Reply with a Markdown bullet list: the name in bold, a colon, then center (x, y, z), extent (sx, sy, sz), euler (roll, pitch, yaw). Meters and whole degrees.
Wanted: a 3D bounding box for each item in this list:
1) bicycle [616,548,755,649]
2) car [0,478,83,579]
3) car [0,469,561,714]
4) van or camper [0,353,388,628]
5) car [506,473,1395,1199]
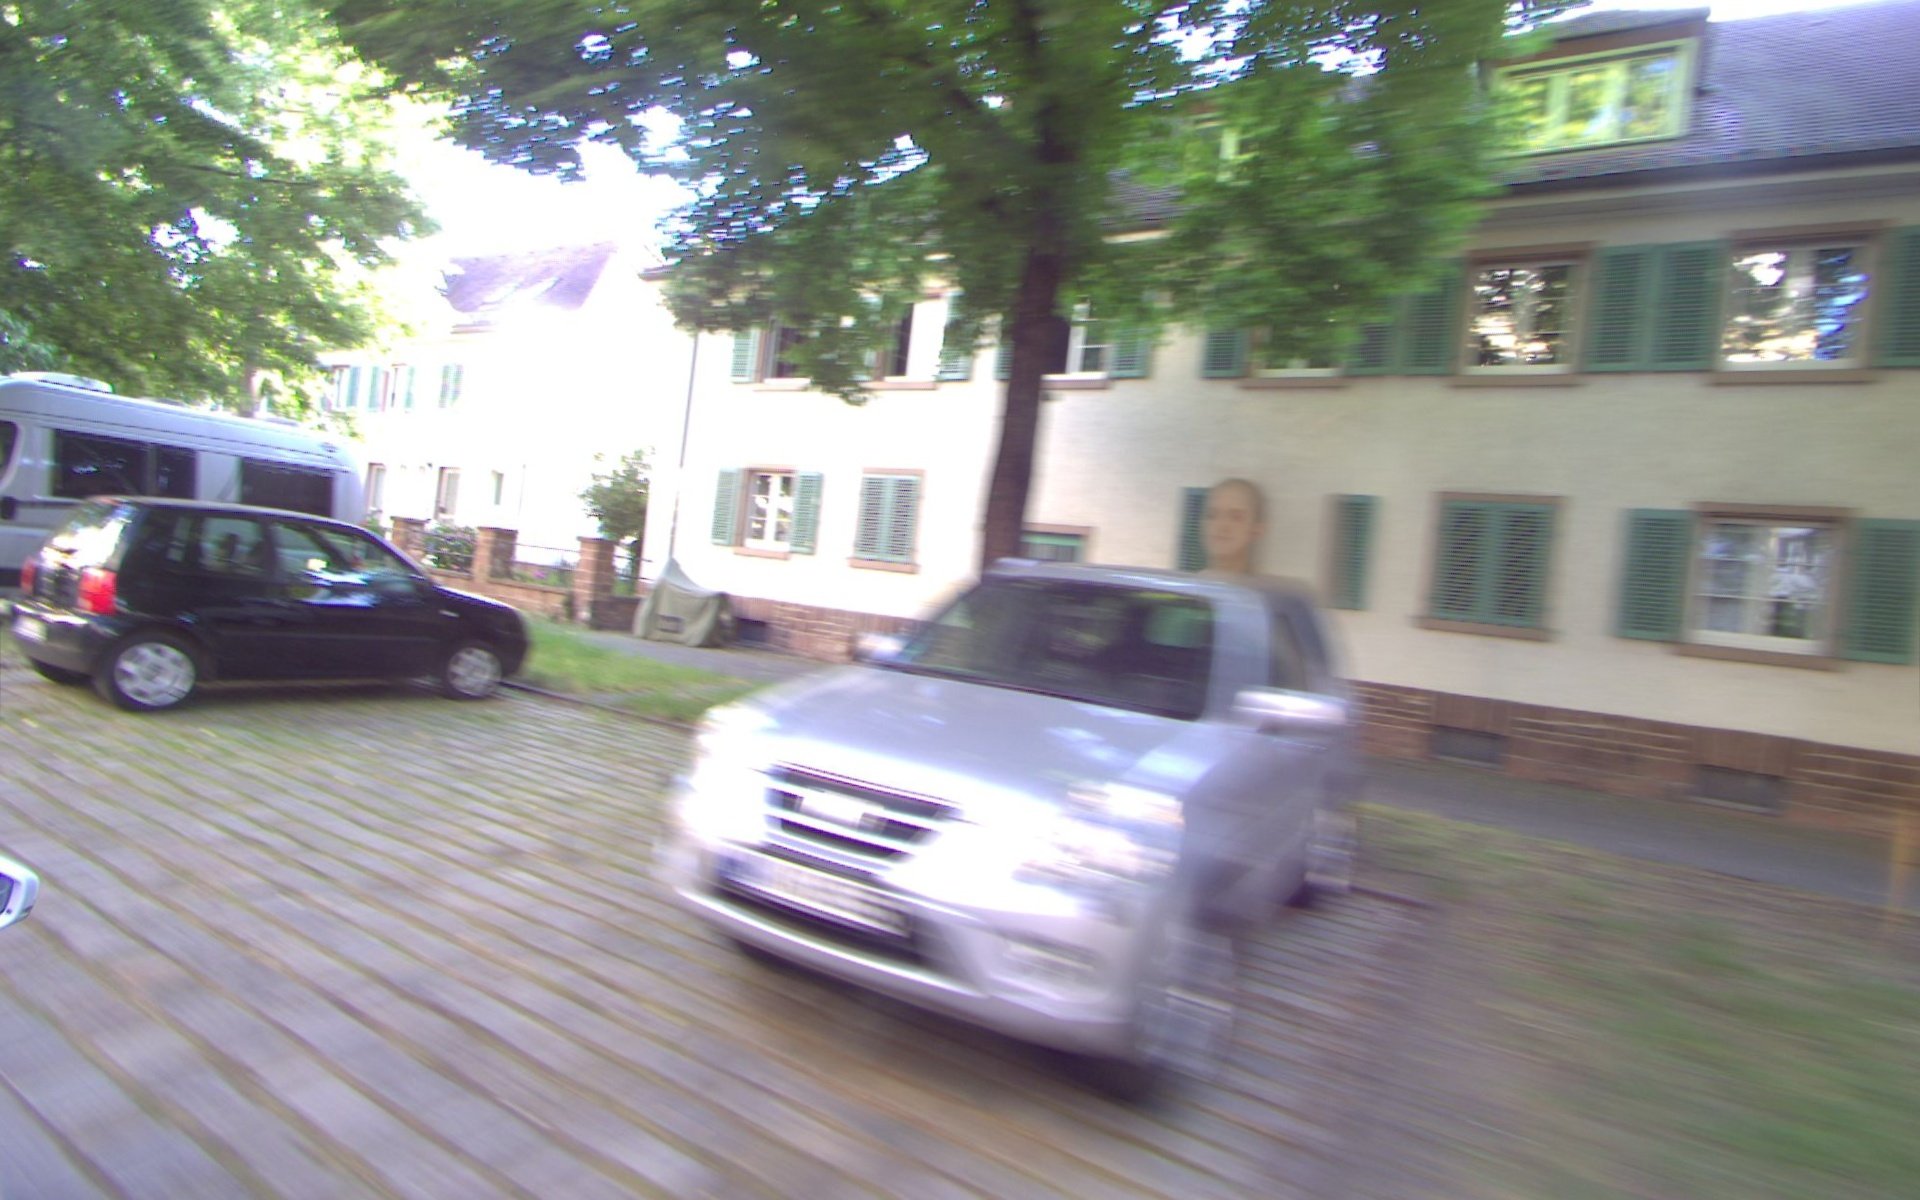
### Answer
- **bicycle**: center (-4.532, -0.027, 16.617), extent (1.967, 1.417, 0.802), euler (7, 1, 18)
- **car**: center (-16.072, -1.276, 14.726), extent (1.786, 1.471, 4.506), euler (6, 0, 32)
- **car**: center (-5.340, -0.030, 8.176), extent (1.722, 1.491, 3.504), euler (6, 1, 30)
- **van or camper**: center (-9.568, -1.094, 10.752), extent (2.230, 2.570, 5.578), euler (6, 2, 29)
- **car**: center (0.589, 0.616, 4.555), extent (1.909, 1.692, 4.478), euler (8, 3, 29)
